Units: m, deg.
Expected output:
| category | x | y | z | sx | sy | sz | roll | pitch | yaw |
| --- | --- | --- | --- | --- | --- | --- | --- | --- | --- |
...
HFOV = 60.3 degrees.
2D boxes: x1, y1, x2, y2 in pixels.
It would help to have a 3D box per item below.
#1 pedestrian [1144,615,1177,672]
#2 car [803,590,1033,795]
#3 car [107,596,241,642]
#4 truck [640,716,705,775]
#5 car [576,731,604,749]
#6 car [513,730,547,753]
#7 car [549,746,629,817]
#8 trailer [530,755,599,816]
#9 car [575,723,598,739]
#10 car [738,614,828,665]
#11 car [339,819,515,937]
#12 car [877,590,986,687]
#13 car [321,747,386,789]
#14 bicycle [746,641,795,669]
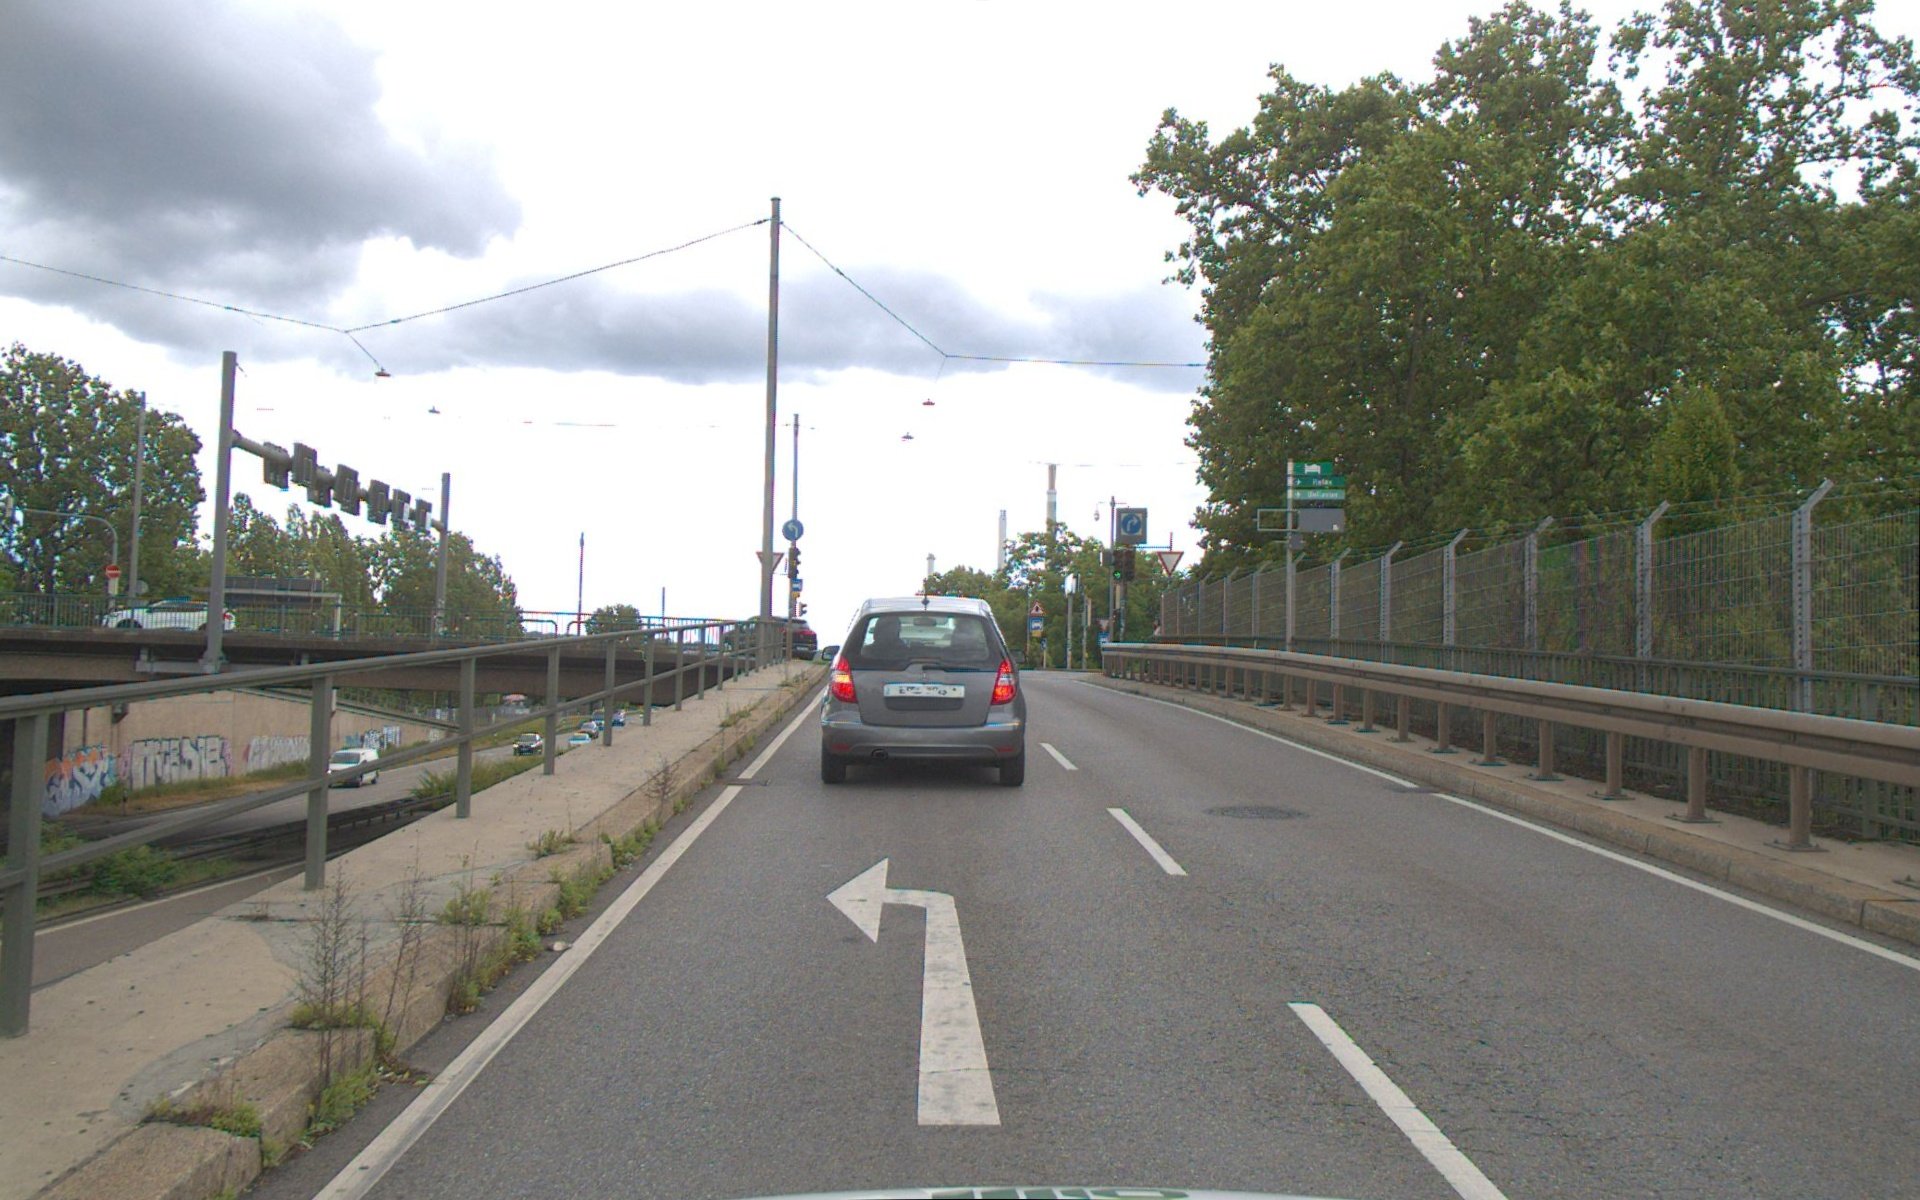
| category | x | y | z | sx | sy | sz | roll | pitch | yaw |
| --- | --- | --- | --- | --- | --- | --- | --- | --- | --- |
| pedestrian | 6.126 | 1.330 | 50.670 | 0.816 | 1.707 | 0.978 | 1 | -4 | -6 |
| car | -0.357 | 0.754 | 15.295 | 1.820 | 1.616 | 3.999 | 1 | 0 | -1 |
| car | -28.192 | 0.690 | 59.458 | 4.277 | 1.604 | 1.824 | 1 | -1 | -25 |
| truck | -17.445 | 8.787 | 100.832 | 2.690 | 3.351 | 7.438 | 1 | -3 | -1 |
| car | -32.635 | 12.338 | 145.840 | 1.694 | 1.555 | 4.083 | 1 | -4 | -3 |
| car | -35.542 | 11.686 | 136.933 | 1.877 | 1.769 | 4.548 | 0 | -3 | -4 |
| car | -15.410 | 7.503 | 69.044 | 1.953 | 2.732 | 5.930 | 1 | -5 | -1 |
| trailer | -15.298 | 7.158 | 64.212 | 1.693 | 2.167 | 3.934 | 1 | -5 | -1 |
| car | -41.353 | 14.537 | 183.014 | 1.878 | 1.672 | 4.159 | 1 | -5 | -5 |
| car | -6.353 | 1.388 | 58.924 | 1.908 | 1.747 | 3.965 | 1 | -1 | -27 |
| car | -10.904 | 5.663 | 34.273 | 1.953 | 1.909 | 5.196 | 1 | -4 | -1 |
| car | -0.624 | 0.727 | 32.470 | 1.893 | 1.747 | 4.402 | 1 | -1 | -4 |
| car | -33.828 | 9.370 | 92.384 | 1.954 | 2.103 | 5.171 | 1 | -4 | -4 |
| bicycle | -8.103 | 2.356 | 70.771 | 1.998 | 1.144 | 0.926 | 1 | -1 | -14 |
